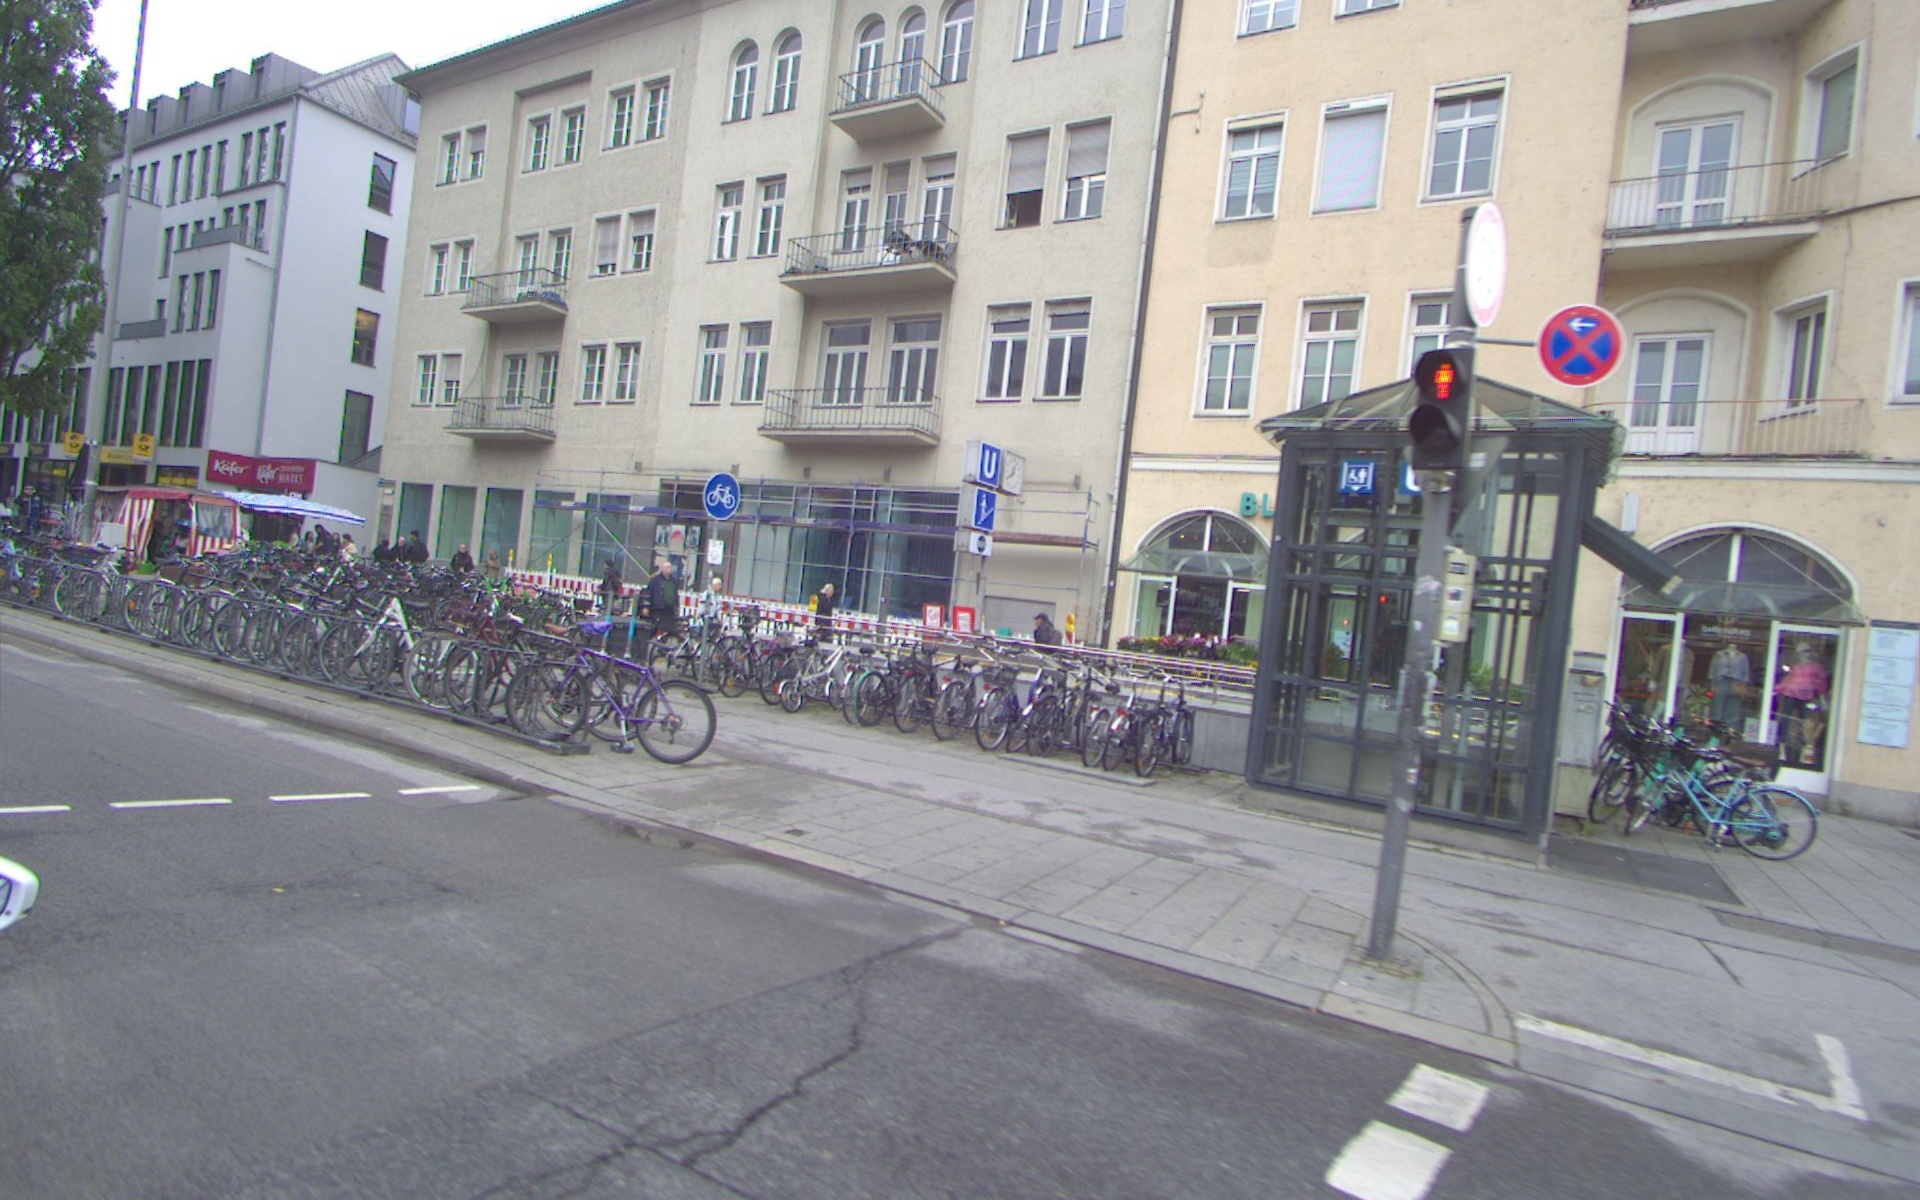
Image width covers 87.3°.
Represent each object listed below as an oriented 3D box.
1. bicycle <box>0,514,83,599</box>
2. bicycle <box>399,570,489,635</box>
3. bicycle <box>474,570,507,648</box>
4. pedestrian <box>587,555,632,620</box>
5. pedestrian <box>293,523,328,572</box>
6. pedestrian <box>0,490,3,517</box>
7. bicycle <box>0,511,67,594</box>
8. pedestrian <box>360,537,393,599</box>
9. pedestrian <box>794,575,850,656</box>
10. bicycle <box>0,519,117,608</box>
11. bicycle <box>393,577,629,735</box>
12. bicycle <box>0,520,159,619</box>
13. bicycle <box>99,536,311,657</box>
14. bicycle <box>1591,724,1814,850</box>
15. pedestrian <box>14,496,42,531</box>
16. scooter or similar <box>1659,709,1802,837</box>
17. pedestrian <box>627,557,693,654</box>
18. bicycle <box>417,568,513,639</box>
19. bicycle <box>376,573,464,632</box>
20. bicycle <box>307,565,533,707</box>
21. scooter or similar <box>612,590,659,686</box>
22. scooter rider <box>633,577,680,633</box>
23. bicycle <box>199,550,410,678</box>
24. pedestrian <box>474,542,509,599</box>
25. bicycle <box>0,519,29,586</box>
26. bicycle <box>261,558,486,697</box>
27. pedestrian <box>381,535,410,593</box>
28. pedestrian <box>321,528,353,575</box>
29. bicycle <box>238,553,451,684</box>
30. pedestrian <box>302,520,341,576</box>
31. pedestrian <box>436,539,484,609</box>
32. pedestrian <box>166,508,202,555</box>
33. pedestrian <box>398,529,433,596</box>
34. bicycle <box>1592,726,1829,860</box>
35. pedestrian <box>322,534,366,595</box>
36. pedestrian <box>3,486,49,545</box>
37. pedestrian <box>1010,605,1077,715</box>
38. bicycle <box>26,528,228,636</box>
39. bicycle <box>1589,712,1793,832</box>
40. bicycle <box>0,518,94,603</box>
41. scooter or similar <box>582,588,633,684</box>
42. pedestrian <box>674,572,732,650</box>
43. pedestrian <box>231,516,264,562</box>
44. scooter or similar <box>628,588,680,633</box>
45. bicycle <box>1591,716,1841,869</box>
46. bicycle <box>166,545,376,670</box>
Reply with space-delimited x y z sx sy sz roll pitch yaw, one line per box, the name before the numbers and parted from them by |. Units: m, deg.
bicycle | -14.599 -0.716 15.240 1.810 1.182 0.584 7 1 -16
bicycle | -8.971 0.052 17.525 0.363 1.012 1.315 7 0 33
bicycle | -7.750 0.123 16.594 0.364 1.156 1.712 6 0 -26
pedestrian | -9.228 -0.325 26.493 0.775 1.588 0.649 7 1 33
pedestrian | -20.279 -1.627 31.411 0.570 1.420 0.599 7 1 32
pedestrian | -41.368 -3.933 42.769 0.665 1.578 0.714 7 1 32
bicycle | -15.230 -0.805 15.671 1.810 1.212 0.584 7 1 -16
pedestrian | -15.229 -0.839 26.282 0.574 1.523 0.612 6 1 -27
pedestrian | -2.990 0.346 21.880 0.745 1.672 0.751 7 2 30
bicycle | -13.482 -0.555 14.579 1.777 1.125 0.584 7 0 -16
bicycle | -4.023 0.507 9.136 1.777 1.213 0.557 7 1 -15
bicycle | -12.284 -0.415 13.862 1.778 1.125 0.560 7 0 -17
bicycle | -8.793 -0.034 11.803 1.781 1.172 0.648 7 0 -23
bicycle | 8.069 2.004 11.037 1.835 0.987 0.495 7 1 32
pedestrian | -39.213 -3.642 42.328 0.665 1.322 0.639 7 1 32
scooter or similar | 8.723 1.941 11.421 1.133 1.242 0.288 7 1 23
pedestrian | -5.735 0.105 19.235 0.810 1.750 0.749 5 2 -44
bicycle | -8.506 0.078 17.333 0.363 1.091 1.419 7 0 33
bicycle | -9.547 0.064 17.831 0.363 0.926 1.294 7 0 33
bicycle | -5.206 0.356 9.811 1.780 1.172 0.545 7 0 -21
scooter or similar | -4.457 0.495 13.779 0.297 1.190 1.268 6 1 -27
scooter rider | -7.318 0.123 24.299 0.707 1.235 0.686 7 2 30
bicycle | -7.021 0.168 10.887 1.785 1.172 0.483 7 0 -30
pedestrian | -14.444 -0.893 31.007 0.553 1.665 0.641 7 1 32
bicycle | -16.451 -0.876 16.330 1.810 1.065 0.584 7 0 -16
bicycle | -5.819 0.281 10.090 1.780 1.172 0.545 7 0 -21
pedestrian | -15.270 -0.983 27.224 0.501 1.503 0.462 6 1 -23
pedestrian | -19.858 -1.547 32.059 0.570 1.420 0.575 7 1 32
bicycle | -6.436 0.216 10.601 1.787 1.172 0.483 7 0 -33
pedestrian | -17.727 -1.434 27.919 0.648 1.443 0.615 7 1 37
pedestrian | -13.335 -0.694 26.816 0.746 1.750 0.742 7 2 32
pedestrian | -29.018 -2.563 37.604 0.729 1.622 0.733 7 1 32
pedestrian | -14.407 -0.982 26.618 0.594 1.690 0.682 6 1 -23
bicycle | 7.719 1.964 10.455 1.835 0.987 0.495 7 1 32
pedestrian | -16.693 -0.974 27.295 0.801 1.541 0.795 6 1 -25
pedestrian | -29.624 -2.680 31.924 0.751 1.749 0.791 7 1 32
pedestrian | 1.379 0.982 16.592 0.710 1.692 0.657 7 2 33
bicycle | -10.544 -0.215 12.811 1.780 1.125 0.649 7 0 -22
bicycle | 8.751 2.040 12.136 1.834 1.072 0.495 7 1 27
bicycle | -14.062 -0.624 14.878 1.777 1.125 0.489 7 1 -16
scooter or similar | -4.854 0.471 13.809 0.360 1.190 1.337 6 1 -27
pedestrian | -5.462 0.240 21.385 0.745 1.537 0.778 7 2 30
pedestrian | -23.571 -2.014 33.274 0.570 1.420 0.599 7 1 32
scooter or similar | -7.396 0.247 24.312 1.106 0.956 0.535 7 2 30
bicycle | 7.451 1.864 10.037 1.835 1.121 0.567 7 1 32
bicycle | -7.594 0.098 11.178 1.784 1.172 0.483 7 0 -29
